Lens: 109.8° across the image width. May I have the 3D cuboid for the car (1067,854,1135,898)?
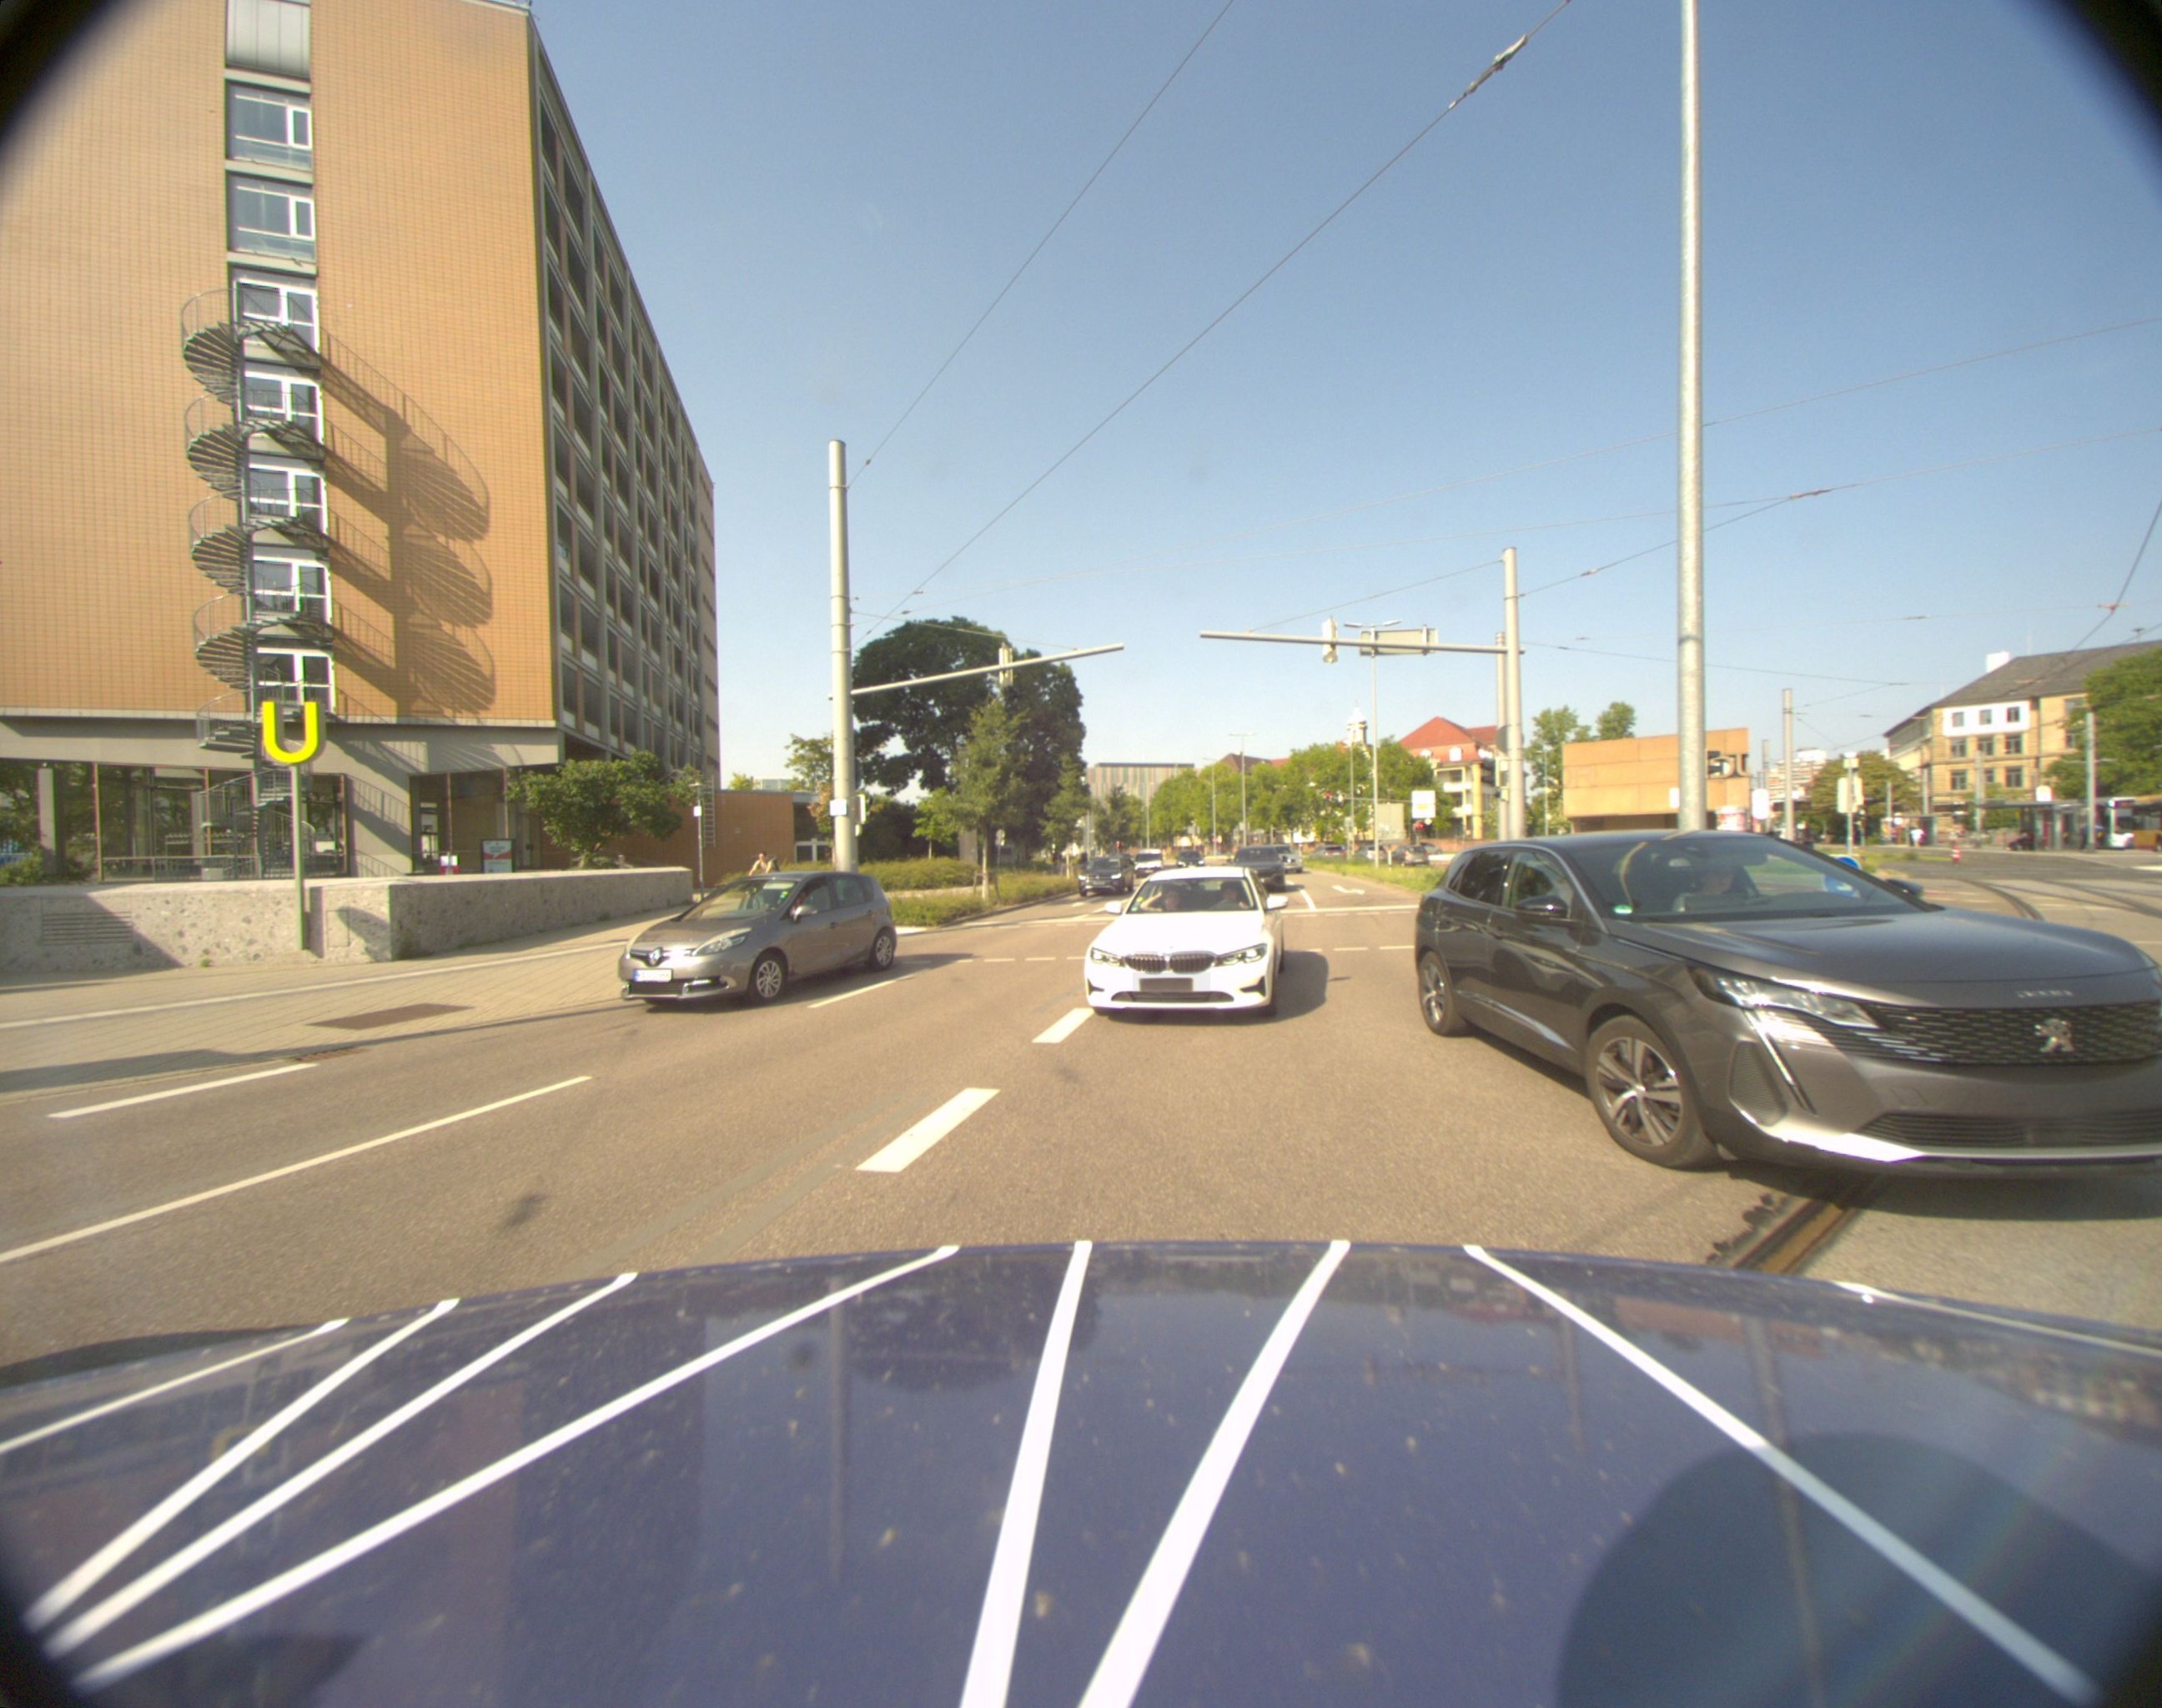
[{"bbox_3d":[0.900,0.846,30.617,1.938,1.597,4.537,-2,-1,12],"label":"car"}]

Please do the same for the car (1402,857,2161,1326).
[{"bbox_3d":[3.513,0.783,4.642,1.686,1.483,4.374,-1,0,7],"label":"car"}]

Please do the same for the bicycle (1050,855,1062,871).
[{"bbox_3d":[-1.824,0.675,56.439,0.773,1.111,2.303,-2,0,1],"label":"bicycle"}]

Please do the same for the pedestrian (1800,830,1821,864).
[{"bbox_3d":[38.506,-0.363,40.123,0.699,1.790,0.781,0,1,38],"label":"pedestrian"}]

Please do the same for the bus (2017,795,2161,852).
[{"bbox_3d":[60.072,-1.692,45.147,3.290,2.960,12.822,-1,1,40],"label":"bus"}]

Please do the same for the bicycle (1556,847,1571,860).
[{"bbox_3d":[34.264,-0.032,53.935,0.591,0.833,1.550,-4,-2,41],"label":"bicycle"}]

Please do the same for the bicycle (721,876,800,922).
[{"bbox_3d":[-8.769,1.202,20.918,0.772,1.111,2.305,-1,0,12],"label":"bicycle"}]

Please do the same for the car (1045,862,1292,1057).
[{"bbox_3d":[1.277,0.916,8.402,1.780,1.474,4.539,-4,-1,18],"label":"car"}]

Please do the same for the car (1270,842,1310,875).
[{"bbox_3d":[12.136,0.247,44.314,1.781,1.709,4.537,-4,-1,11],"label":"car"}]

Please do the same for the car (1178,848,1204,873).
[{"bbox_3d":[7.791,0.427,53.696,1.685,1.644,4.375,-1,0,10],"label":"car"}]

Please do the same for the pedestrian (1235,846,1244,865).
[{"bbox_3d":[14.241,0.104,68.435,0.668,1.689,0.692,-1,1,1],"label":"pedestrian"}]

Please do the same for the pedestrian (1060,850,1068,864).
[{"bbox_3d":[-1.787,0.300,80.028,0.727,1.435,0.857,-1,1,-5],"label":"pedestrian"}]

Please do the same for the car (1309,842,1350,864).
[{"bbox_3d":[19.059,-0.077,58.451,1.698,1.608,4.461,-1,0,1],"label":"car"}]

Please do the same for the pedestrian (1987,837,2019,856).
[{"bbox_3d":[54.014,-0.444,44.529,1.028,1.126,0.739,-1,1,32],"label":"pedestrian"}]

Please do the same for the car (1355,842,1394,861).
[{"bbox_3d":[22.467,-0.202,58.338,1.817,1.425,4.226,-1,0,7],"label":"car"}]

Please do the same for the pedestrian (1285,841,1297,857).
[{"bbox_3d":[28.216,-0.666,102.235,1.079,2.002,1.317,-2,1,-8],"label":"pedestrian"}]

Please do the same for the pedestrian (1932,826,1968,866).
[{"bbox_3d":[39.056,-0.356,34.158,0.779,1.790,0.701,-1,1,5],"label":"pedestrian"}]

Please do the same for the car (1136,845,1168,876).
[{"bbox_3d":[4.724,0.394,50.027,1.685,1.930,4.376,-1,0,11],"label":"car"}]

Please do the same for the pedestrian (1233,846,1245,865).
[{"bbox_3d":[13.721,0.146,65.996,0.667,1.645,0.781,0,1,37],"label":"pedestrian"}]

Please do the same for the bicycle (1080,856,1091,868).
[{"bbox_3d":[0.391,0.693,67.358,0.721,0.954,1.922,-1,1,6],"label":"bicycle"}]

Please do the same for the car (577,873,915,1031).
[{"bbox_3d":[-4.266,1.173,10.609,1.780,1.596,4.427,-4,-1,17],"label":"car"}]

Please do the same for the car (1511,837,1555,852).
[{"bbox_3d":[52.104,-1.088,87.594,4.375,1.624,1.997,-2,1,-17],"label":"car"}]

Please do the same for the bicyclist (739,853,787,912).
[{"bbox_3d":[-8.780,0.781,20.991,0.772,1.584,0.925,-1,1,13],"label":"bicyclist"}]

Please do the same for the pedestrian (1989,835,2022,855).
[{"bbox_3d":[53.417,-0.492,43.892,1.028,1.126,0.739,-1,1,32],"label":"pedestrian"}]

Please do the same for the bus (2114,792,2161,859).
[{"bbox_3d":[51.194,-1.338,34.248,2.709,3.090,12.239,0,1,40],"label":"bus"}]

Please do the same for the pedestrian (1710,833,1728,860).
[{"bbox_3d":[40.243,-0.473,47.936,0.863,1.695,0.733,0,1,36],"label":"pedestrian"}]

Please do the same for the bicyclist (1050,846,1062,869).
[{"bbox_3d":[-1.838,0.241,56.494,0.773,1.666,0.924,-2,1,1],"label":"bicyclist"}]

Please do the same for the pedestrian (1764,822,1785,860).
[{"bbox_3d":[32.877,-0.598,36.030,0.699,1.790,0.781,0,1,44],"label":"pedestrian"}]

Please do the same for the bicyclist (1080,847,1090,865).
[{"bbox_3d":[0.375,0.172,67.331,0.721,1.504,1.005,-1,1,6],"label":"bicyclist"}]

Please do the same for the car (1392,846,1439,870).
[{"bbox_3d":[21.945,0.242,50.040,1.892,1.443,3.677,-1,0,8],"label":"car"}]

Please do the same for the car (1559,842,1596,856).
[{"bbox_3d":[58.427,-0.590,89.408,3.853,1.489,1.623,-2,1,-18],"label":"car"}]

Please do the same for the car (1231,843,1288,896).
[{"bbox_3d":[6.526,0.536,28.041,1.781,1.682,4.537,-4,-1,12],"label":"car"}]
